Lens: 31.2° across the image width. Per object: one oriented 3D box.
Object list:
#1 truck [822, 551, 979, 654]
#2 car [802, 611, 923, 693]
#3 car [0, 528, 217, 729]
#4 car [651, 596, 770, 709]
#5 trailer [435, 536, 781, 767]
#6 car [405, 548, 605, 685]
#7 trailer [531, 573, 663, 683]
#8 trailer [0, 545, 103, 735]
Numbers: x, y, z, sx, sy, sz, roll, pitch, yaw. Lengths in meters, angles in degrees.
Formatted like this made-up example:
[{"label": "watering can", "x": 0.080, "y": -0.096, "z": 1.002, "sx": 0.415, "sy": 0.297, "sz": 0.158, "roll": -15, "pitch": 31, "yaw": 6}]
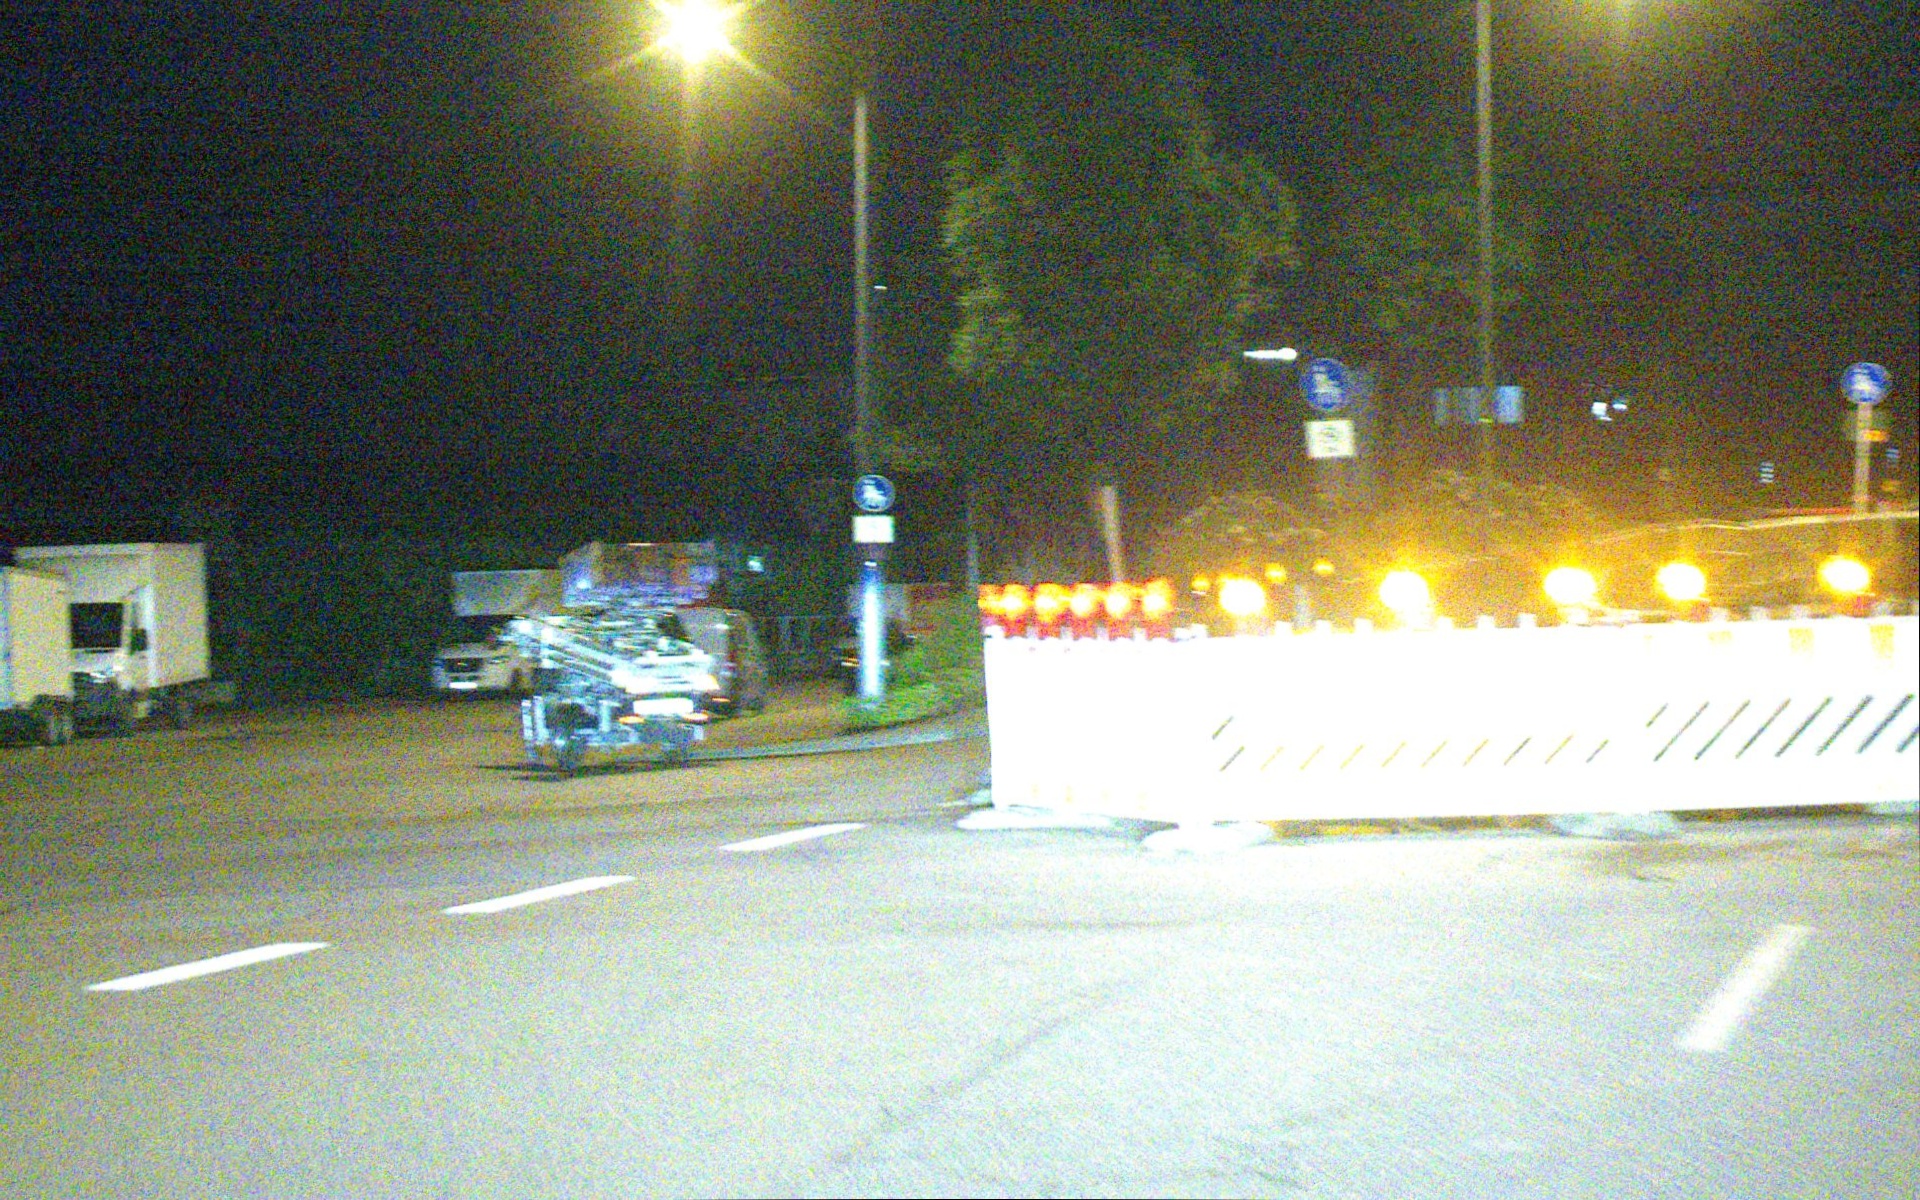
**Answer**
[{"label": "truck", "x": -1.984, "y": 0.021, "z": 118.935, "sx": 1.996, "sy": 3.392, "sz": 8.969, "roll": 1, "pitch": 1, "yaw": 23}, {"label": "car", "x": -2.198, "y": 1.185, "z": 78.501, "sx": 1.722, "sy": 1.815, "sz": 3.997, "roll": 0, "pitch": -1, "yaw": 14}, {"label": "car", "x": -13.761, "y": 0.434, "z": 54.734, "sx": 2.519, "sy": 2.917, "sz": 7.202, "roll": -2, "pitch": 0, "yaw": -3}, {"label": "car", "x": -4.132, "y": 0.871, "z": 57.453, "sx": 1.720, "sy": 1.815, "sz": 4.000, "roll": 0, "pitch": -1, "yaw": -1}, {"label": "trailer", "x": -3.695, "y": 0.538, "z": 35.164, "sx": 1.559, "sy": 2.153, "sz": 5.222, "roll": -2, "pitch": 0, "yaw": -28}, {"label": "car", "x": -11.171, "y": 0.360, "z": 85.132, "sx": 2.520, "sy": 3.160, "sz": 7.134, "roll": -2, "pitch": 0, "yaw": 12}, {"label": "trailer", "x": -9.601, "y": 0.713, "z": 91.292, "sx": 1.995, "sy": 2.803, "sz": 4.700, "roll": -1, "pitch": 1, "yaw": 14}, {"label": "trailer", "x": -13.348, "y": 0.560, "z": 47.660, "sx": 1.993, "sy": 2.519, "sz": 3.568, "roll": -2, "pitch": 0, "yaw": -1}]
